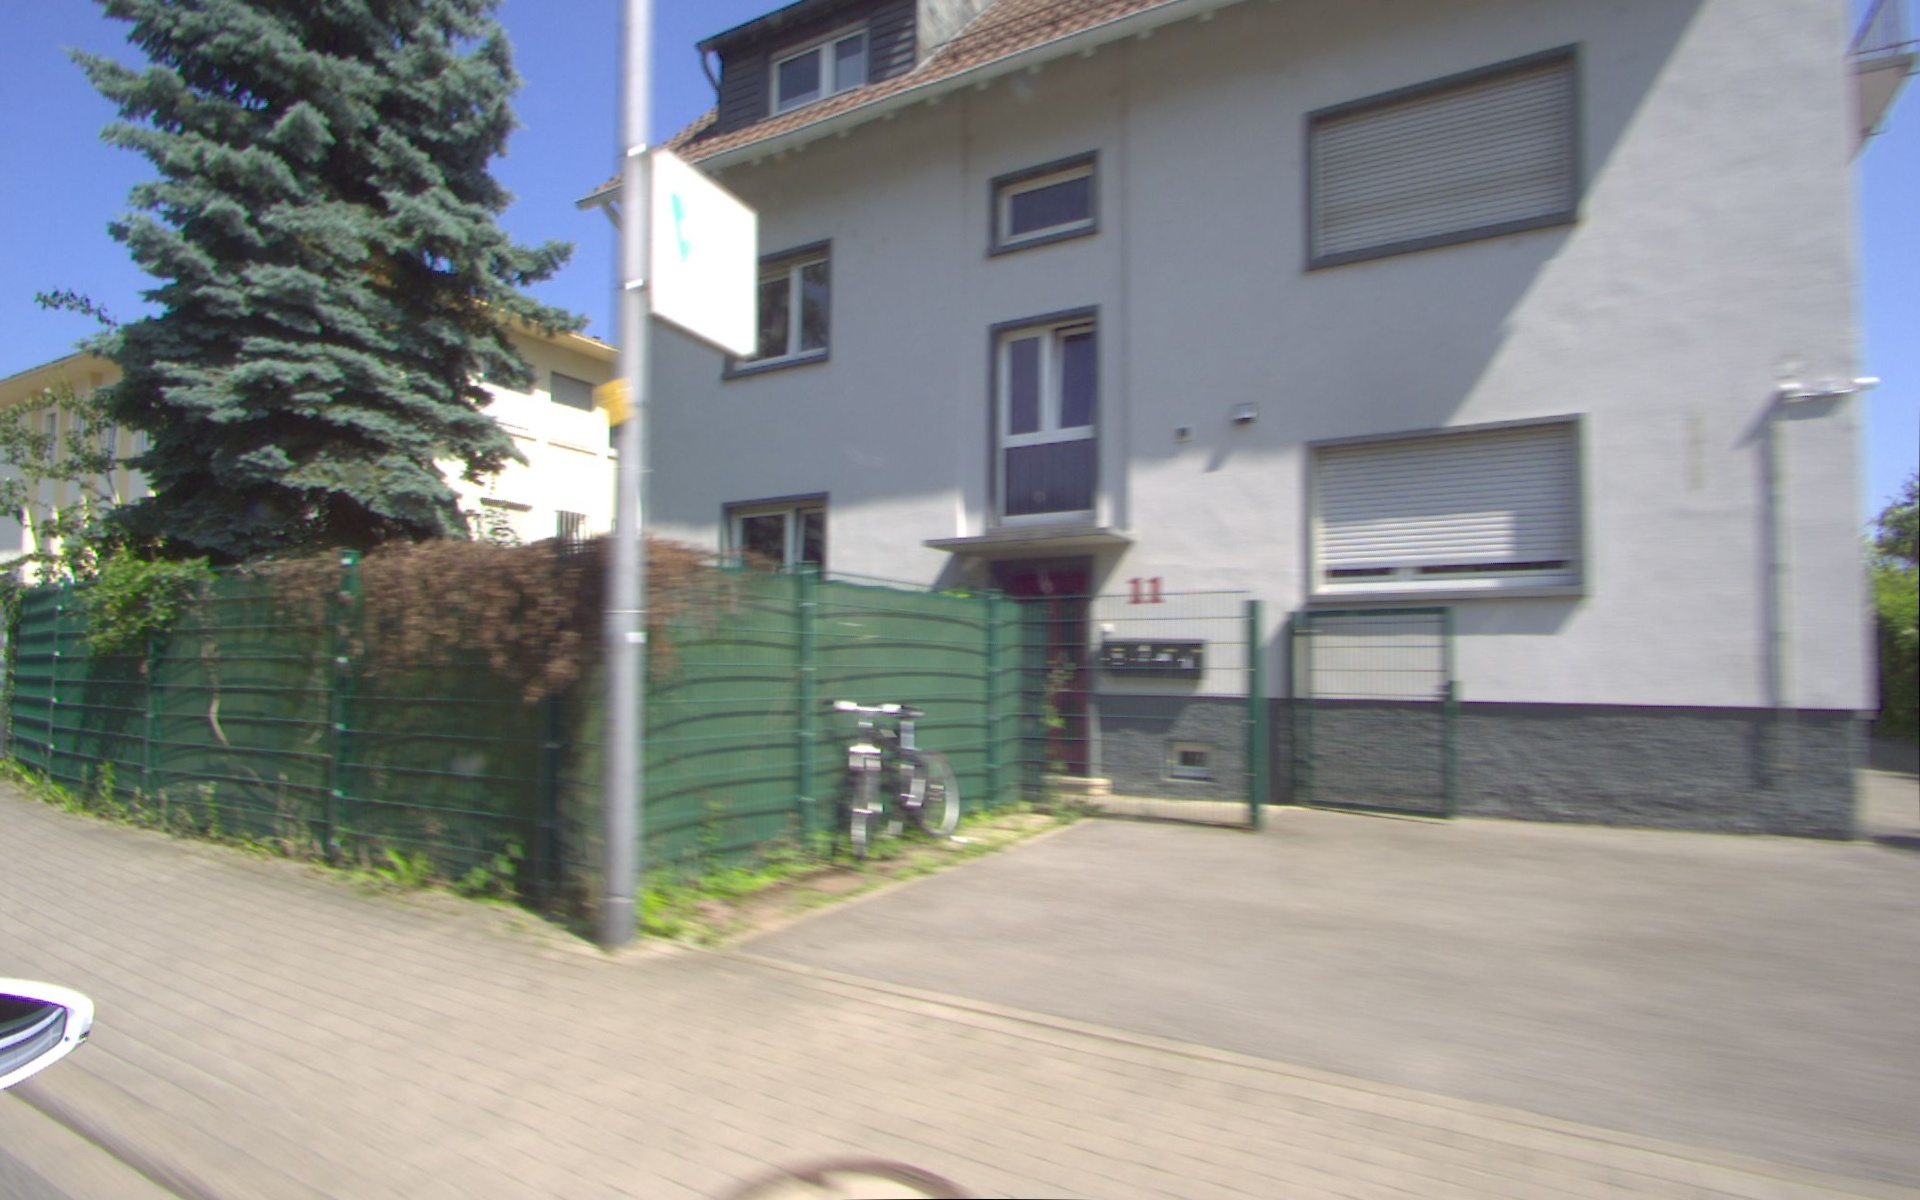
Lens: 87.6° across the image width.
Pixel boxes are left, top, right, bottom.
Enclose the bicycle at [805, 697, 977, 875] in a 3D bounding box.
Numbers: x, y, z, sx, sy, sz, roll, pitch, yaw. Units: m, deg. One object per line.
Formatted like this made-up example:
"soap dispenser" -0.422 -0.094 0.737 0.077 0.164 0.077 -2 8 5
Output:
"bicycle" -0.415 1.175 6.668 0.382 1.002 1.471 -4 -5 29
